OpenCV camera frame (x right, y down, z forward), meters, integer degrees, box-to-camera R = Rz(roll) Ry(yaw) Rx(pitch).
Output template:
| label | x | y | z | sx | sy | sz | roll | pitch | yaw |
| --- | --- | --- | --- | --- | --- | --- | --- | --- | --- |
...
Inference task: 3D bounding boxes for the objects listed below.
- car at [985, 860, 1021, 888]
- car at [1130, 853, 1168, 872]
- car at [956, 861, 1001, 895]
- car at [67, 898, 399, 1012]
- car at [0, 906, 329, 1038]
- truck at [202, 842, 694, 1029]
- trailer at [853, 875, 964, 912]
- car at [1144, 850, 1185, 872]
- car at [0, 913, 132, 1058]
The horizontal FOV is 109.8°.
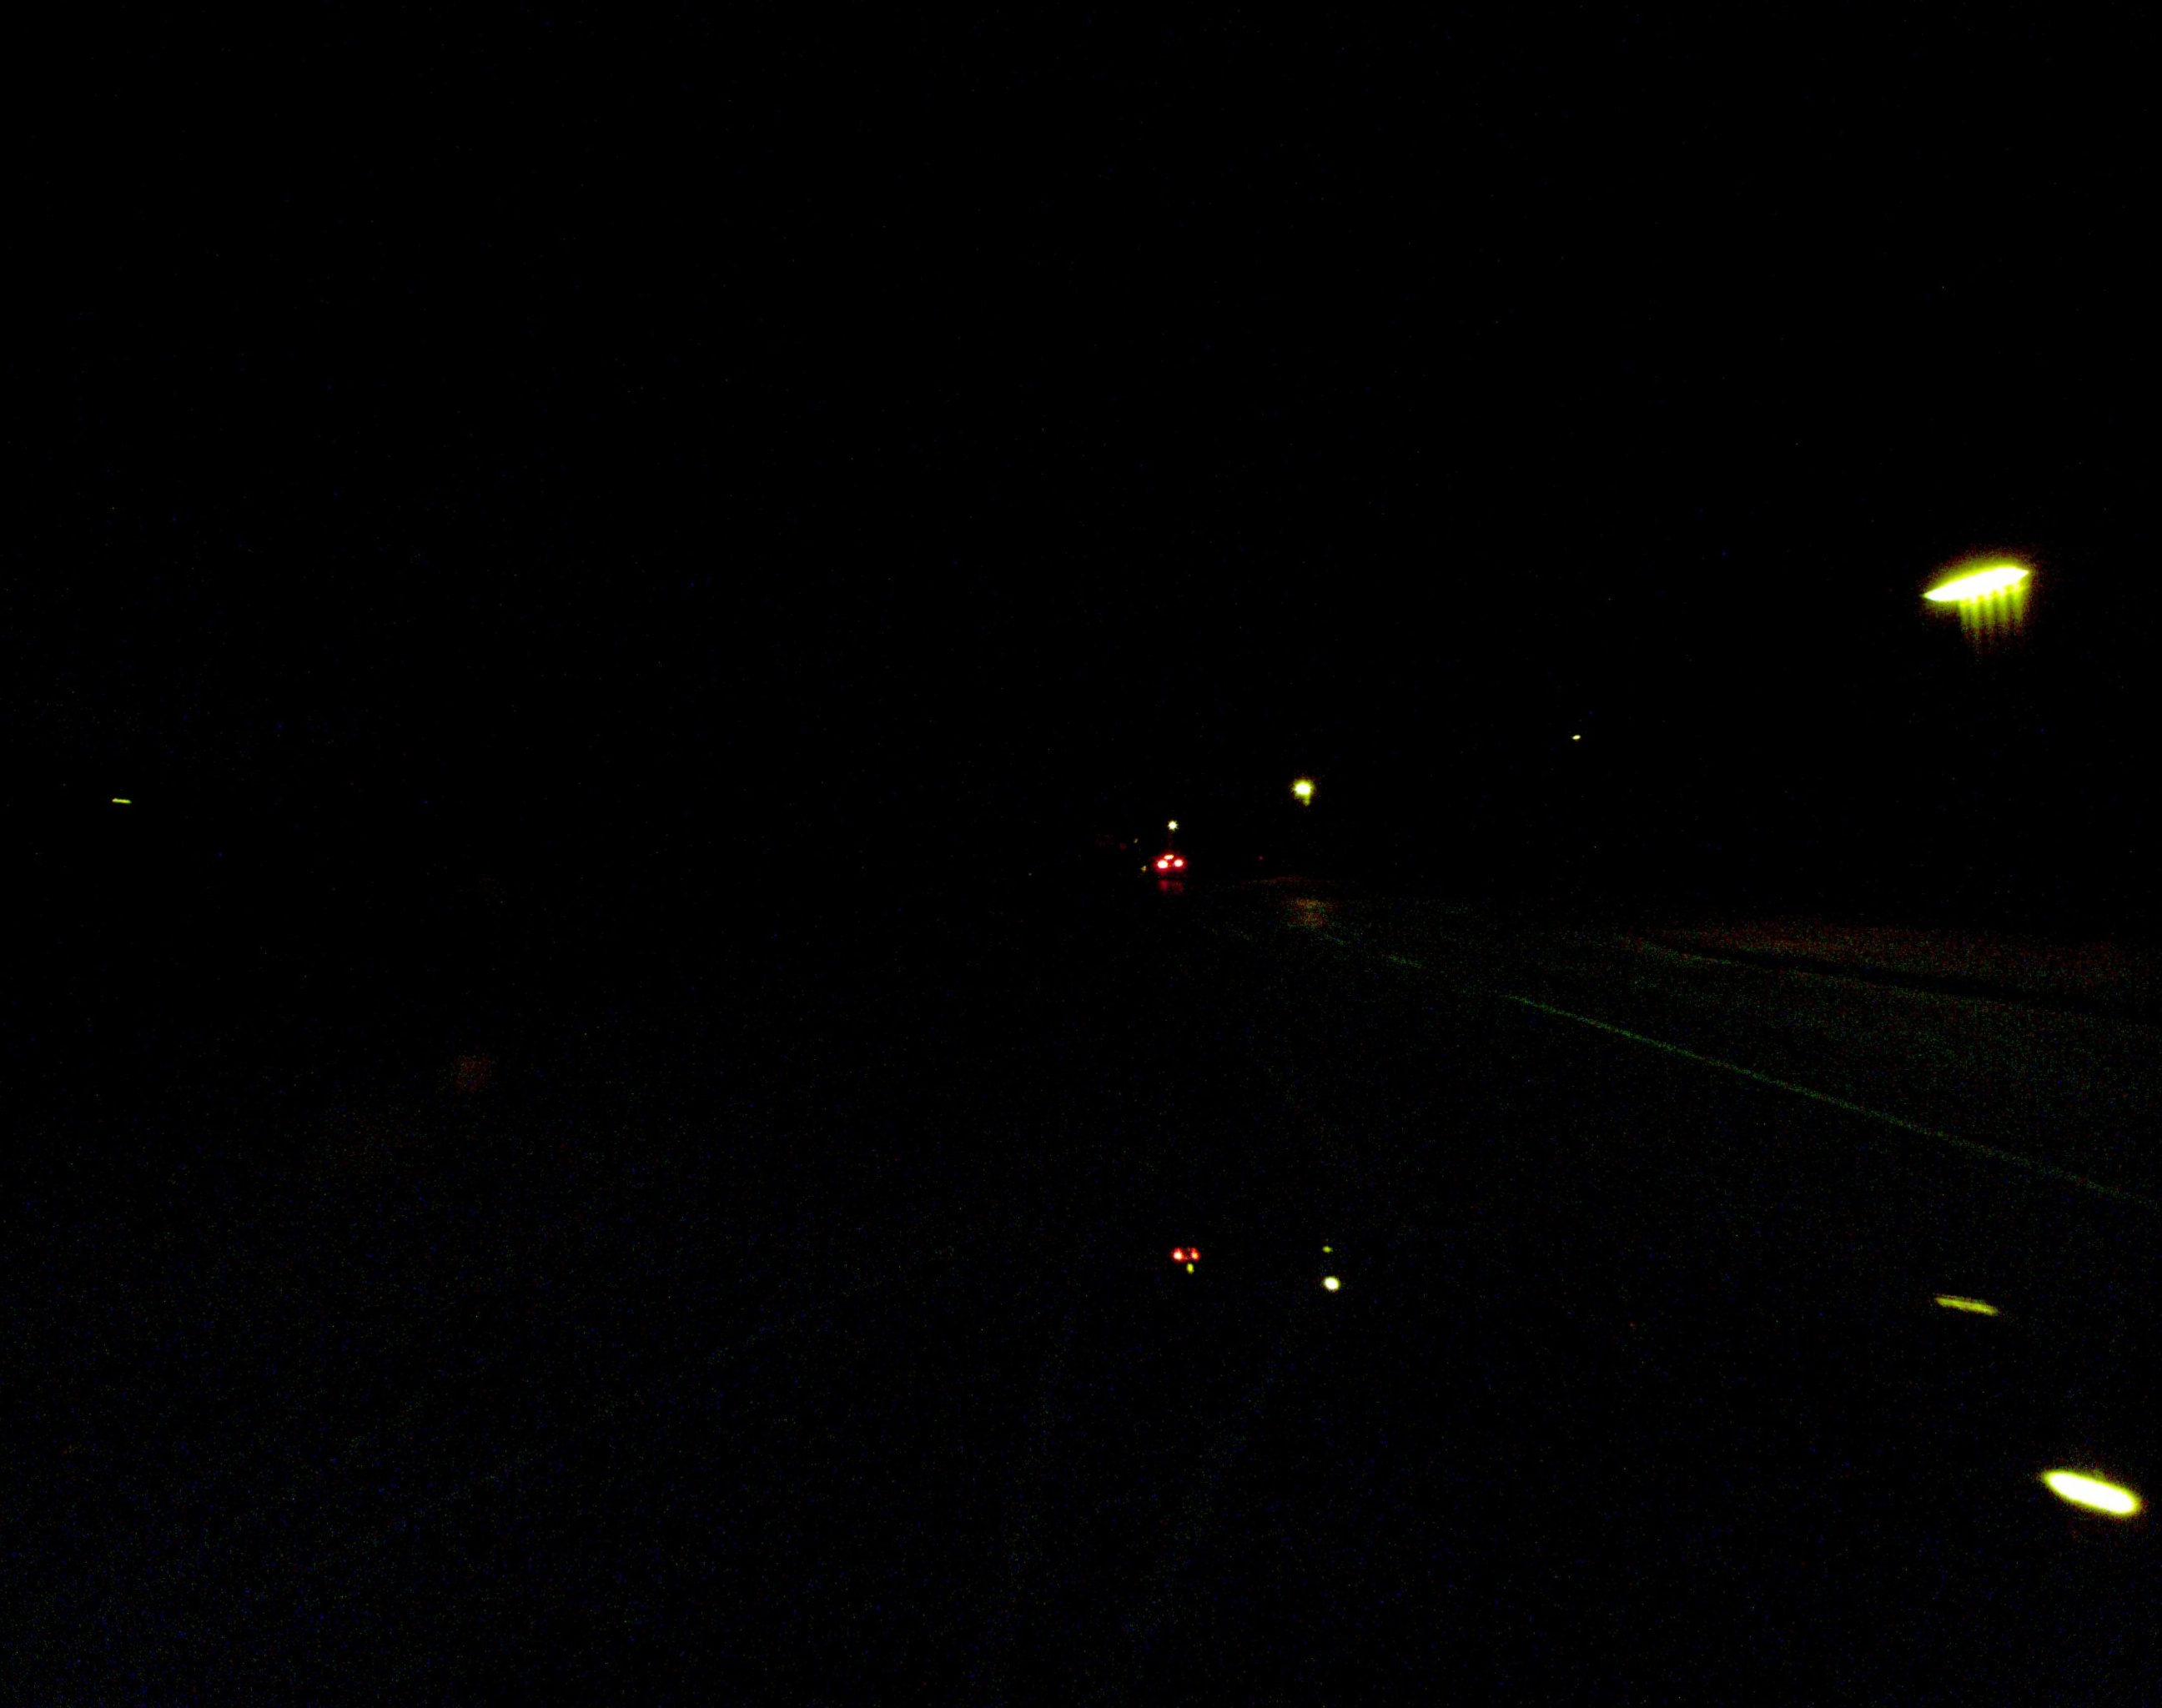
| label | x | y | z | sx | sy | sz | roll | pitch | yaw |
| --- | --- | --- | --- | --- | --- | --- | --- | --- | --- |
| car | -4.752 | 1.223 | 46.924 | 1.999 | 1.542 | 4.325 | -4 | -1 | -5 |
| car | 5.561 | 0.729 | 62.891 | 2.000 | 1.371 | 4.594 | -3 | 0 | -9 |
| car | -5.298 | 1.197 | 39.728 | 1.940 | 1.543 | 3.999 | -4 | 0 | -4 |
| car | -15.055 | 1.744 | 13.674 | 3.866 | 1.595 | 1.708 | -3 | 0 | -2 |
| car | -14.307 | 1.738 | 11.519 | 3.865 | 1.551 | 1.902 | -3 | 0 | 1 |
| truck | -10.124 | 1.052 | 13.680 | 2.384 | 2.270 | 7.743 | -3 | 0 | -1 |
| trailer | -6.889 | 1.542 | 31.873 | 2.179 | 0.961 | 9.617 | -5 | -1 | 1 |
| car | 6.222 | 0.539 | 57.023 | 1.854 | 1.436 | 4.913 | -4 | 0 | -8 |
| car | -14.561 | 1.691 | 9.163 | 3.866 | 1.586 | 1.708 | -3 | 0 | -2 |
